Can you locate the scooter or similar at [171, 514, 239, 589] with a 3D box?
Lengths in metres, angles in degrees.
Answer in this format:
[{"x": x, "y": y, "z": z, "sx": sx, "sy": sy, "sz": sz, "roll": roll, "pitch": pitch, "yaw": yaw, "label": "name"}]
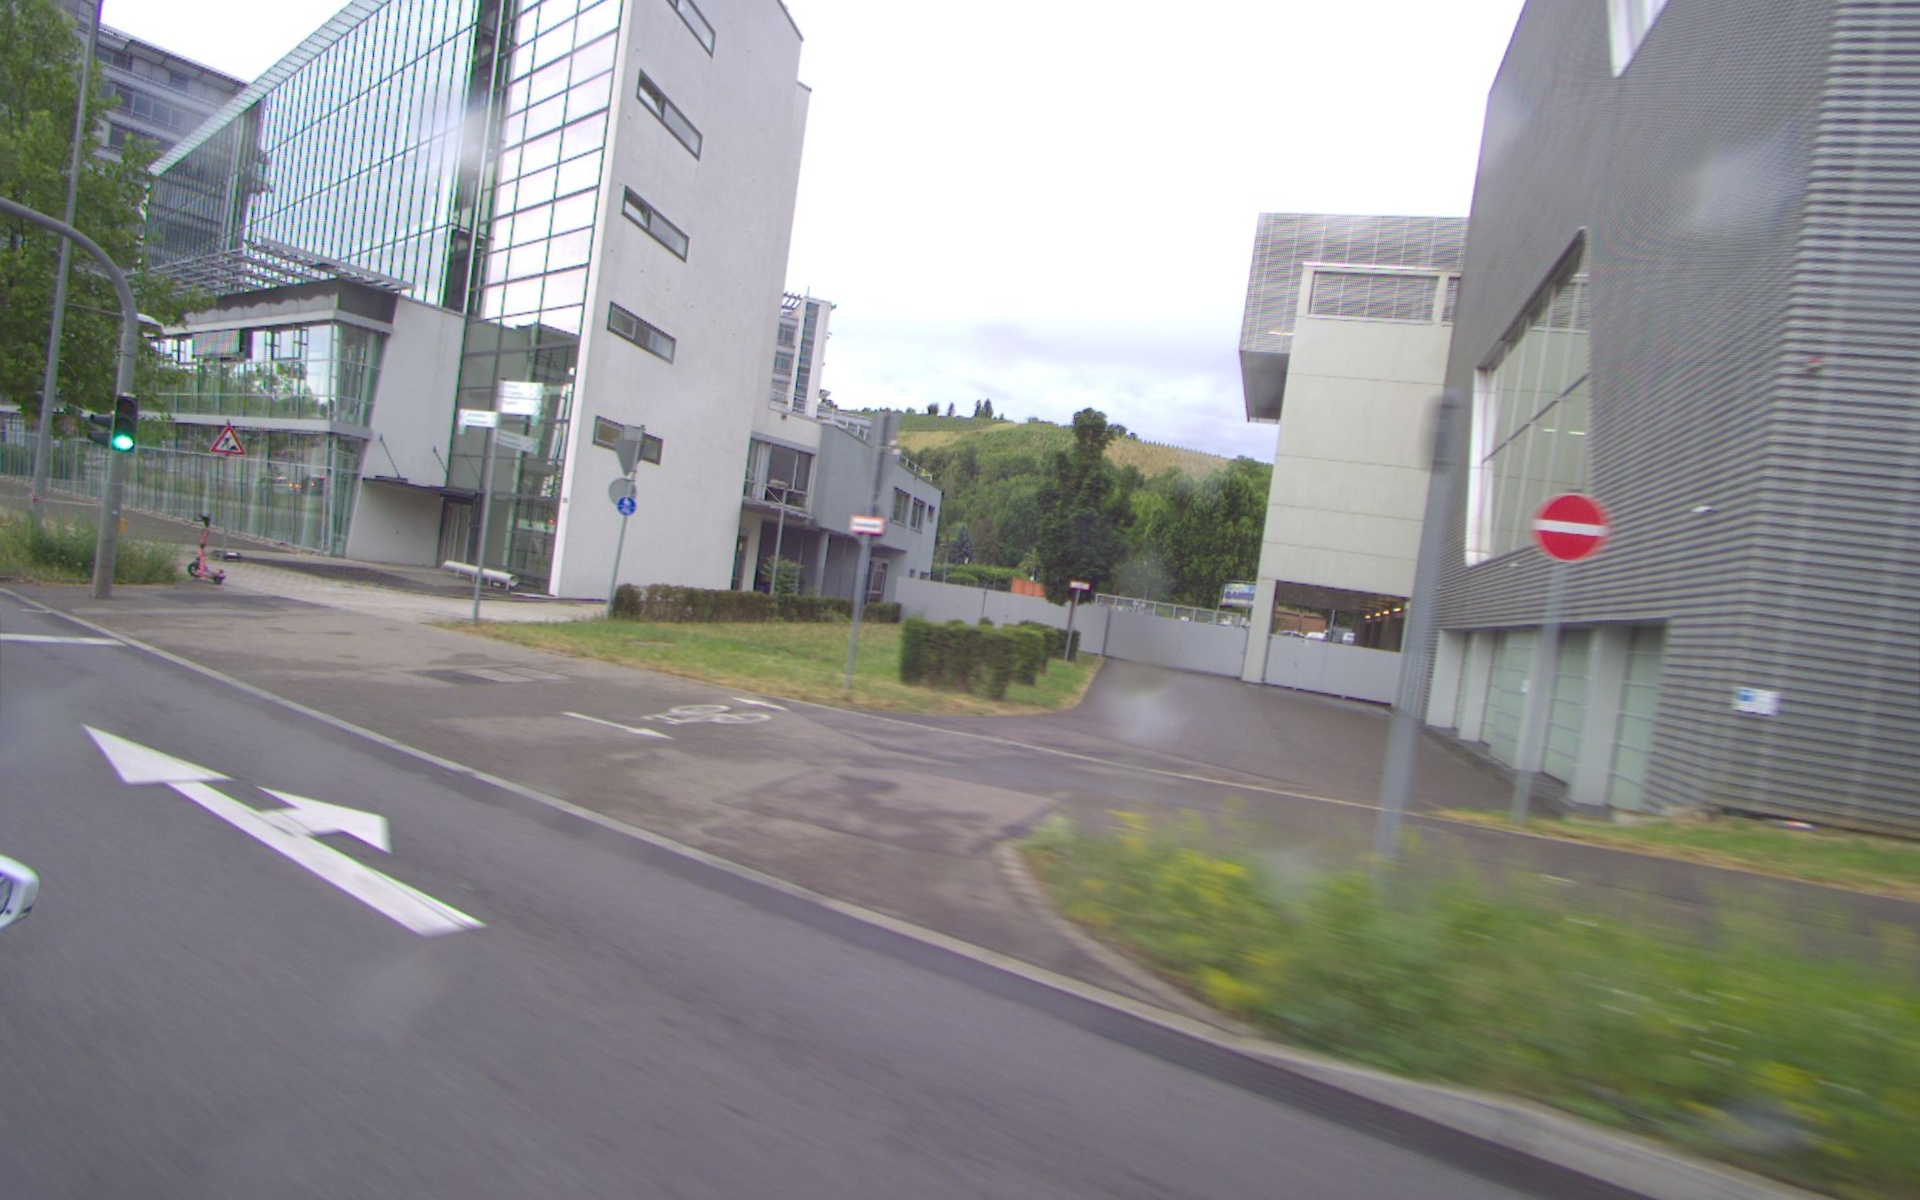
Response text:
[{"x": -14.302, "y": -0.929, "z": 19.058, "sx": 1.314, "sy": 1.280, "sz": 0.458, "roll": 7, "pitch": 3, "yaw": 28, "label": "scooter or similar"}]
